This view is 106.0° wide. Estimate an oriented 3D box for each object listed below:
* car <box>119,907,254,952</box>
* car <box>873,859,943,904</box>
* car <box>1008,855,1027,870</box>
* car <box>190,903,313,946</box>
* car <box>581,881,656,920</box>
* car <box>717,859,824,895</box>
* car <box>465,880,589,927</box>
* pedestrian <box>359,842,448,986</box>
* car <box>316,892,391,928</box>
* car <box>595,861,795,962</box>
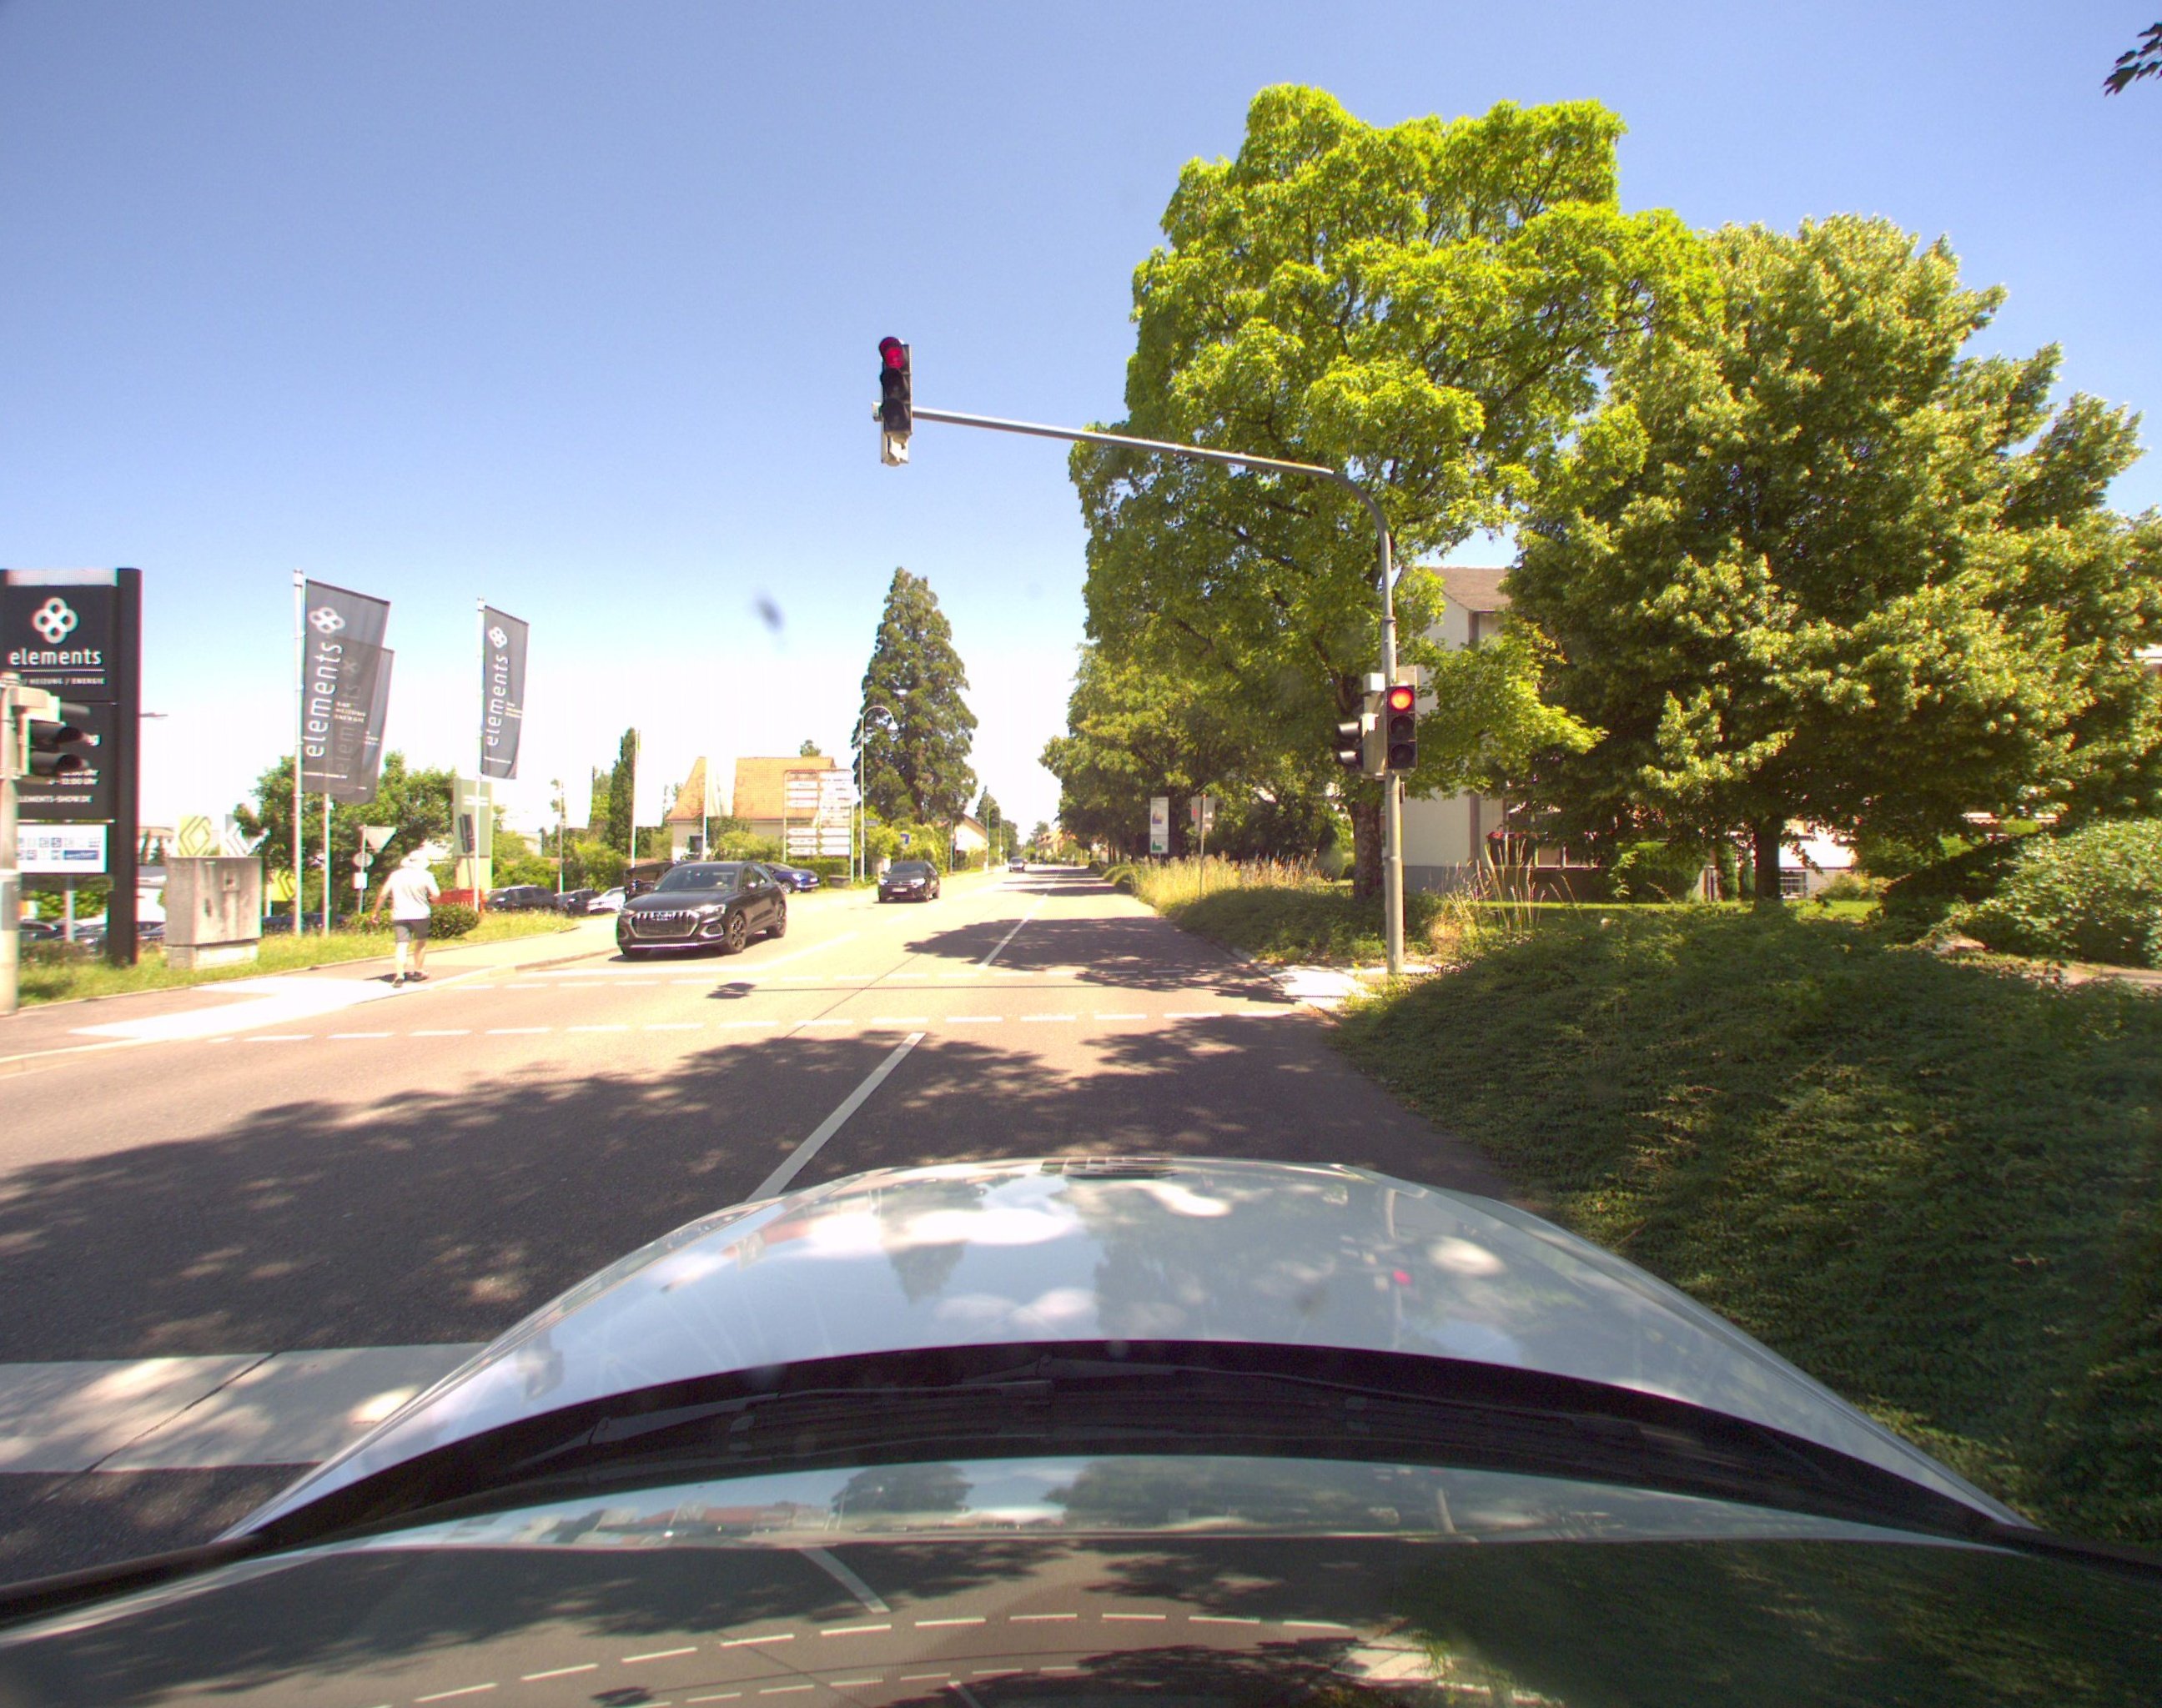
[{"bbox_3d":[-36.992,3.095,33.849,1.754,1.486,3.983,-1,0,-12],"label":"car"},{"bbox_3d":[-6.367,0.972,30.449,1.864,1.507,4.049,-1,0,-2],"label":"car"},{"bbox_3d":[-7.626,1.017,97.526,1.804,1.762,4.571,0,0,1],"label":"car"},{"bbox_3d":[-34.340,2.889,33.862,1.648,1.415,3.854,-1,0,-10],"label":"car"},{"bbox_3d":[-23.285,2.285,41.168,1.806,1.722,4.081,0,0,-6],"label":"car"},{"bbox_3d":[-13.925,1.027,36.627,4.109,1.504,1.782,-1,0,10],"label":"car"},{"bbox_3d":[-23.321,2.024,34.473,1.795,1.722,4.106,0,0,16],"label":"car"},{"bbox_3d":[-8.646,0.741,10.403,0.538,1.761,0.706,-1,-1,28],"label":"pedestrian"},{"bbox_3d":[-40.317,3.073,45.245,1.816,1.722,4.059,0,0,-22],"label":"car"},{"bbox_3d":[-6.869,0.925,15.068,1.923,1.555,4.295,-1,0,-5],"label":"car"}]
